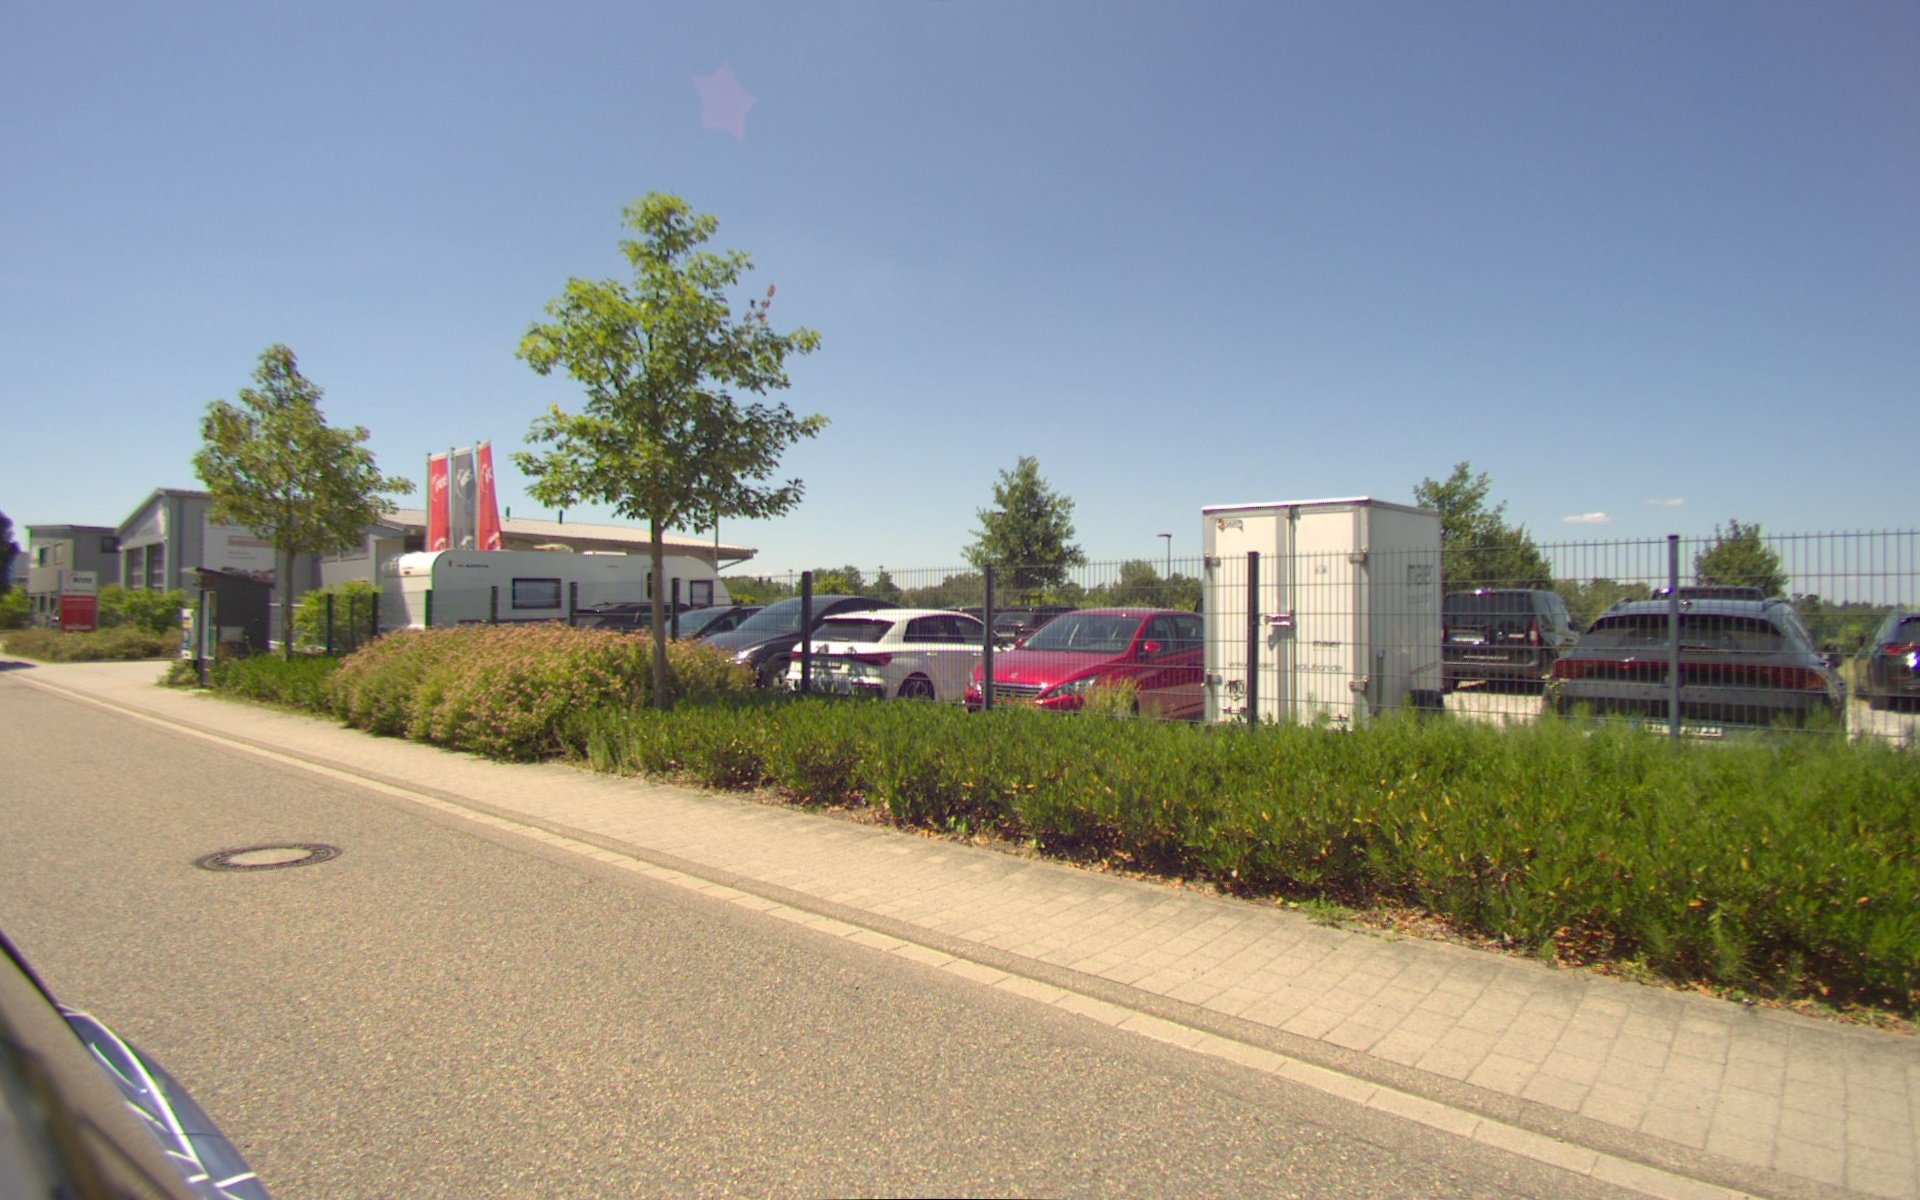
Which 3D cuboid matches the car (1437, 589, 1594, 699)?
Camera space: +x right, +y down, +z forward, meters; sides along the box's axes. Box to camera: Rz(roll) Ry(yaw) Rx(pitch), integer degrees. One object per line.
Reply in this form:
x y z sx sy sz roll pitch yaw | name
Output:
10.273 0.757 18.580 1.804 1.785 3.947 -1 -2 40 | car

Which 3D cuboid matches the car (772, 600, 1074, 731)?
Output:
-0.327 0.772 13.478 1.775 1.463 4.166 -1 -1 38 | car

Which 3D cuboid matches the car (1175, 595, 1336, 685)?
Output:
6.547 0.831 22.211 1.998 1.785 3.947 -1 -2 40 | car

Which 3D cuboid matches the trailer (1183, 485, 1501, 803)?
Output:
3.812 0.316 9.678 1.724 2.378 3.949 -1 0 38 | trailer

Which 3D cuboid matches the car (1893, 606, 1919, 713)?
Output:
14.339 0.798 14.347 1.476 1.425 3.436 -1 -1 40 | car

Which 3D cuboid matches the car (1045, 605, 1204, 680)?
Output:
3.958 0.953 23.941 1.998 1.608 3.947 -1 -1 40 | car

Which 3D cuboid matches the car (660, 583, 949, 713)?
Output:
-2.194 0.667 15.483 1.773 1.678 4.469 -1 -1 36 | car

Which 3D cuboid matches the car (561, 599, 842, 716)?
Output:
-4.149 0.877 16.922 1.774 1.678 4.468 -1 -1 36 | car

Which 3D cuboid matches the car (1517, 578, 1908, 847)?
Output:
6.192 0.692 8.189 1.999 1.547 4.499 -1 -2 42 | car

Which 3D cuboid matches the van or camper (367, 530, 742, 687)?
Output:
-8.011 0.242 20.774 2.574 2.704 6.704 -1 -2 42 | van or camper

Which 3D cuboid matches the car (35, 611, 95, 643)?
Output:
-48.787 1.468 55.145 3.998 1.697 1.972 -1 -2 41 | car

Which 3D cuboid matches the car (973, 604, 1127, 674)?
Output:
2.325 0.947 25.511 1.998 1.608 3.947 -1 -1 40 | car

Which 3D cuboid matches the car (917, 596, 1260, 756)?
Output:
1.623 0.739 11.530 1.998 1.463 4.164 -1 -2 39 | car

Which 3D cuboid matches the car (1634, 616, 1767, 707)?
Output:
11.914 0.913 16.226 1.493 1.304 2.980 -1 -1 40 | car
